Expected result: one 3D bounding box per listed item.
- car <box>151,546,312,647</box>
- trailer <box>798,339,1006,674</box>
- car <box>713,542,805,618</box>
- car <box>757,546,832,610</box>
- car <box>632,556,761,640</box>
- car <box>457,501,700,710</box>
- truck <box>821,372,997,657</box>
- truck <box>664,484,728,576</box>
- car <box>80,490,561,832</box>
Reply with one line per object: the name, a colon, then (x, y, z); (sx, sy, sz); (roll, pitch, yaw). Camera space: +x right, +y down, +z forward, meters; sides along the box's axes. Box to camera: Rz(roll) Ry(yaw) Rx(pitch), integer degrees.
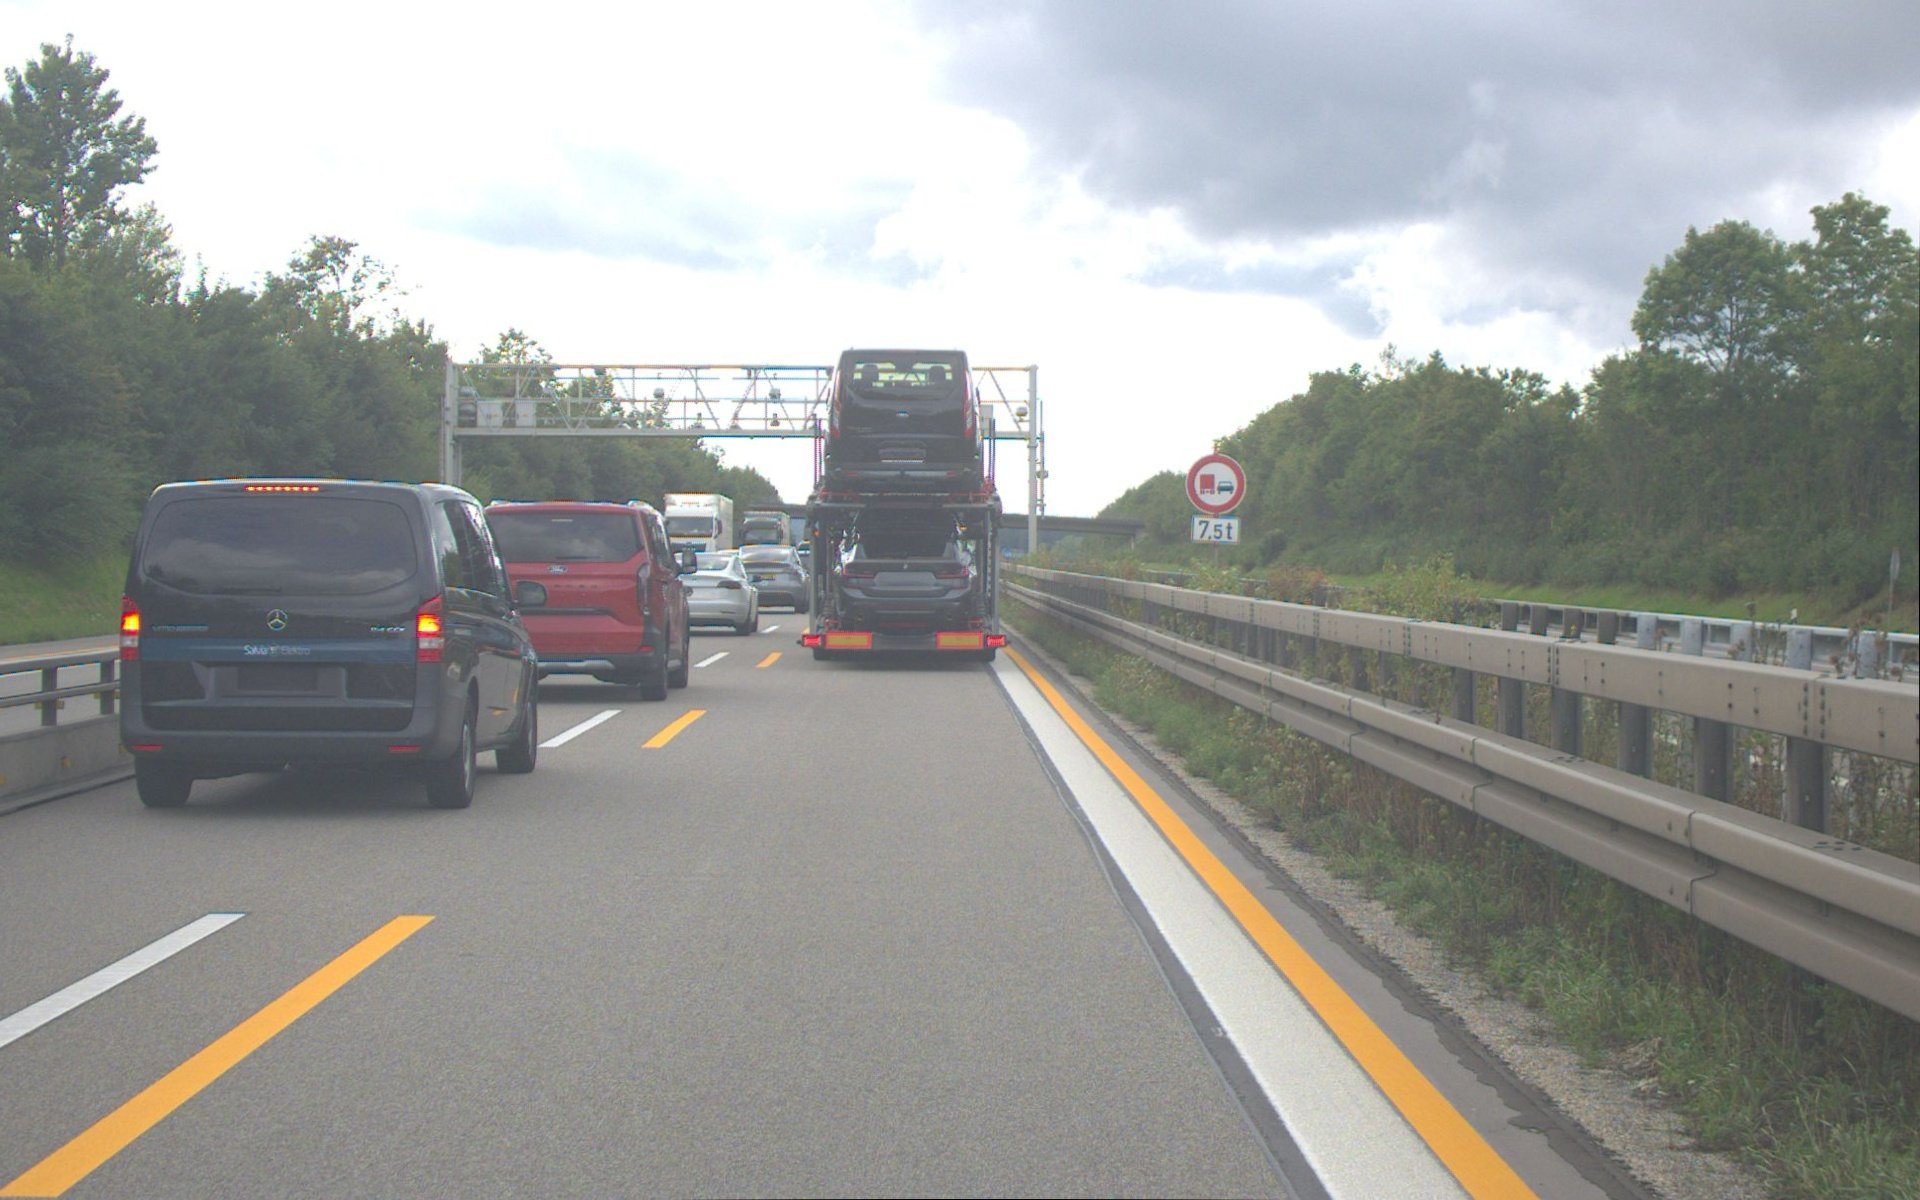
car: (-11.174, -0.085, 52.942); (1.695, 1.449, 3.959); (1, 1, -1)
trailer: (-0.723, -1.215, 47.719); (2.515, 4.091, 11.113); (0, 1, 0)
car: (-4.737, -0.497, 81.480); (2.031, 1.751, 4.578); (0, 1, -1)
car: (-4.632, -0.631, 96.870); (2.031, 1.751, 4.578); (0, 1, -2)
car: (-4.632, -0.057, 60.977); (2.031, 1.426, 4.578); (0, 1, -1)
car: (-3.835, 0.020, 35.274); (2.031, 2.007, 4.578); (0, 1, -1)
truck: (-0.739, -1.273, 52.462); (2.515, 4.091, 5.685); (0, 1, 0)
truck: (-12.274, -3.256, 159.988); (2.598, 4.140, 5.620); (1, 1, -1)
car: (-3.770, 0.293, 21.332); (1.993, 1.837, 5.610); (0, 1, -1)
